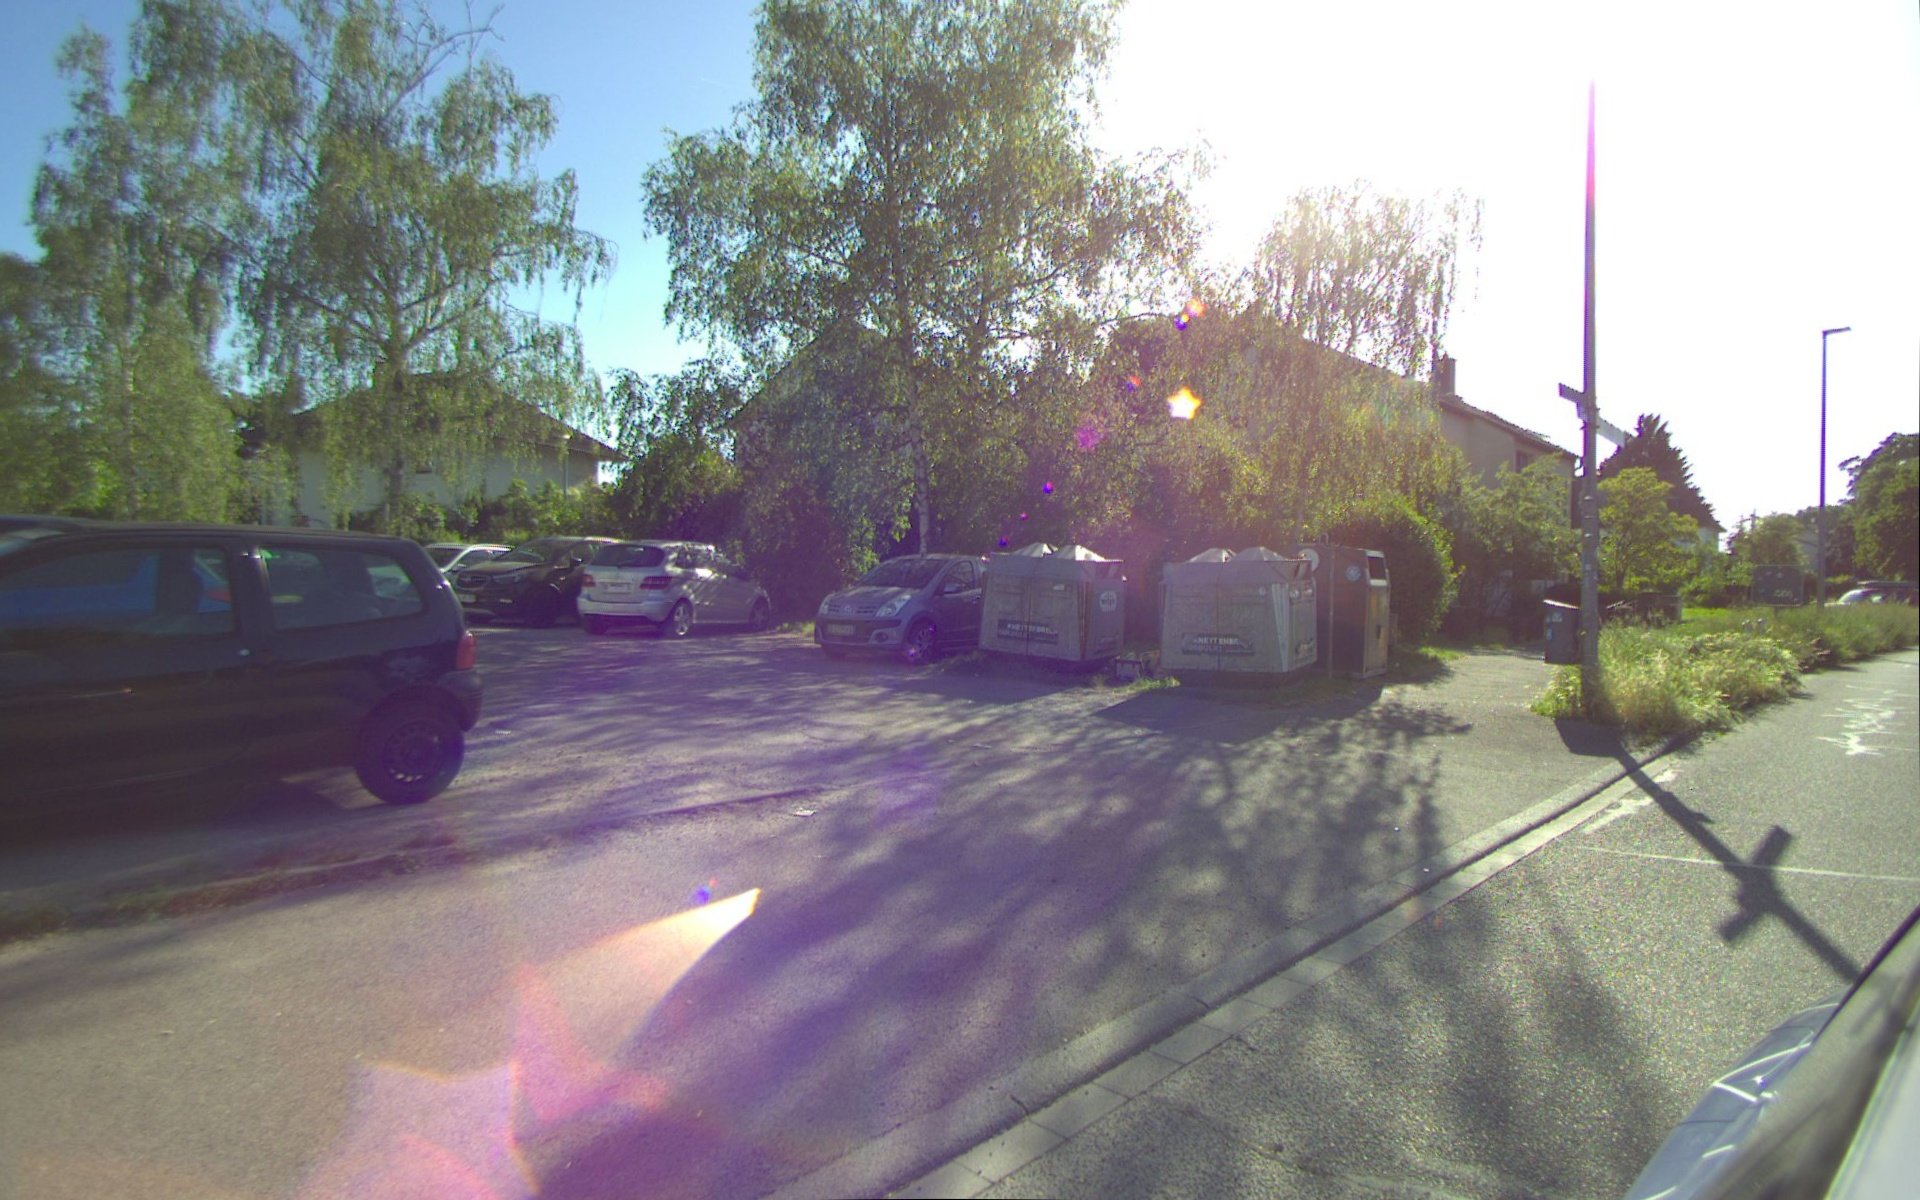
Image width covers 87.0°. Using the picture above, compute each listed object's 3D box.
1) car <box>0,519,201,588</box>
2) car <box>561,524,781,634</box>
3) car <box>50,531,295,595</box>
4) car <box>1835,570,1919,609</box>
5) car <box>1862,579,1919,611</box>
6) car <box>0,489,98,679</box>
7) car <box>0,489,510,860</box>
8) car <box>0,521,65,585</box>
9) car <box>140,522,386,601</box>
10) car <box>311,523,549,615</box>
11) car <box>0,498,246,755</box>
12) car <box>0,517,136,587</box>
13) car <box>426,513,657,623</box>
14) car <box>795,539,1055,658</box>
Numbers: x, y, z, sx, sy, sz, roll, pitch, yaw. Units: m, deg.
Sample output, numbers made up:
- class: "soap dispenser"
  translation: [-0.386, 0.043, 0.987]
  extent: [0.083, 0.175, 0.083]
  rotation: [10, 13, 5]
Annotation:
- class: "car"
  translation: [-19.843, -0.997, 22.872]
  extent: [1.779, 1.418, 3.966]
  rotation: [2, 1, 25]
- class: "car"
  translation: [-4.880, -0.367, 17.703]
  extent: [1.766, 1.623, 4.045]
  rotation: [3, 2, 16]
- class: "car"
  translation: [-17.393, -0.781, 22.566]
  extent: [1.781, 1.294, 3.962]
  rotation: [2, 1, 27]
- class: "car"
  translation: [43.185, -0.494, 46.857]
  extent: [3.592, 1.738, 1.744]
  rotation: [1, 2, 10]
- class: "car"
  translation: [45.747, -0.247, 48.516]
  extent: [3.358, 1.459, 1.603]
  rotation: [2, 2, 24]
- class: "car"
  translation: [-10.031, -0.117, 7.743]
  extent: [1.768, 1.674, 4.962]
  rotation: [3, 3, 27]
- class: "car"
  translation: [-4.276, 0.256, 4.848]
  extent: [1.696, 1.484, 3.484]
  rotation: [3, 2, 39]
- class: "car"
  translation: [-25.165, -1.202, 25.188]
  extent: [1.779, 1.605, 3.966]
  rotation: [2, 1, 25]
- class: "car"
  translation: [-14.945, -0.790, 21.919]
  extent: [1.930, 1.522, 3.962]
  rotation: [2, 1, 27]
- class: "car"
  translation: [-10.092, -0.587, 19.655]
  extent: [1.766, 1.518, 4.097]
  rotation: [3, 2, 15]
- class: "car"
  translation: [-6.616, 0.139, 5.937]
  extent: [1.638, 1.514, 3.652]
  rotation: [3, 3, 31]
- class: "car"
  translation: [-22.399, -1.129, 24.081]
  extent: [1.779, 1.605, 3.966]
  rotation: [2, 1, 25]
- class: "car"
  translation: [-7.540, -0.572, 18.700]
  extent: [1.766, 1.727, 4.097]
  rotation: [3, 2, 15]
- class: "car"
  translation: [-0.347, -0.039, 14.467]
  extent: [1.624, 1.457, 4.014]
  rotation: [2, 1, 35]
